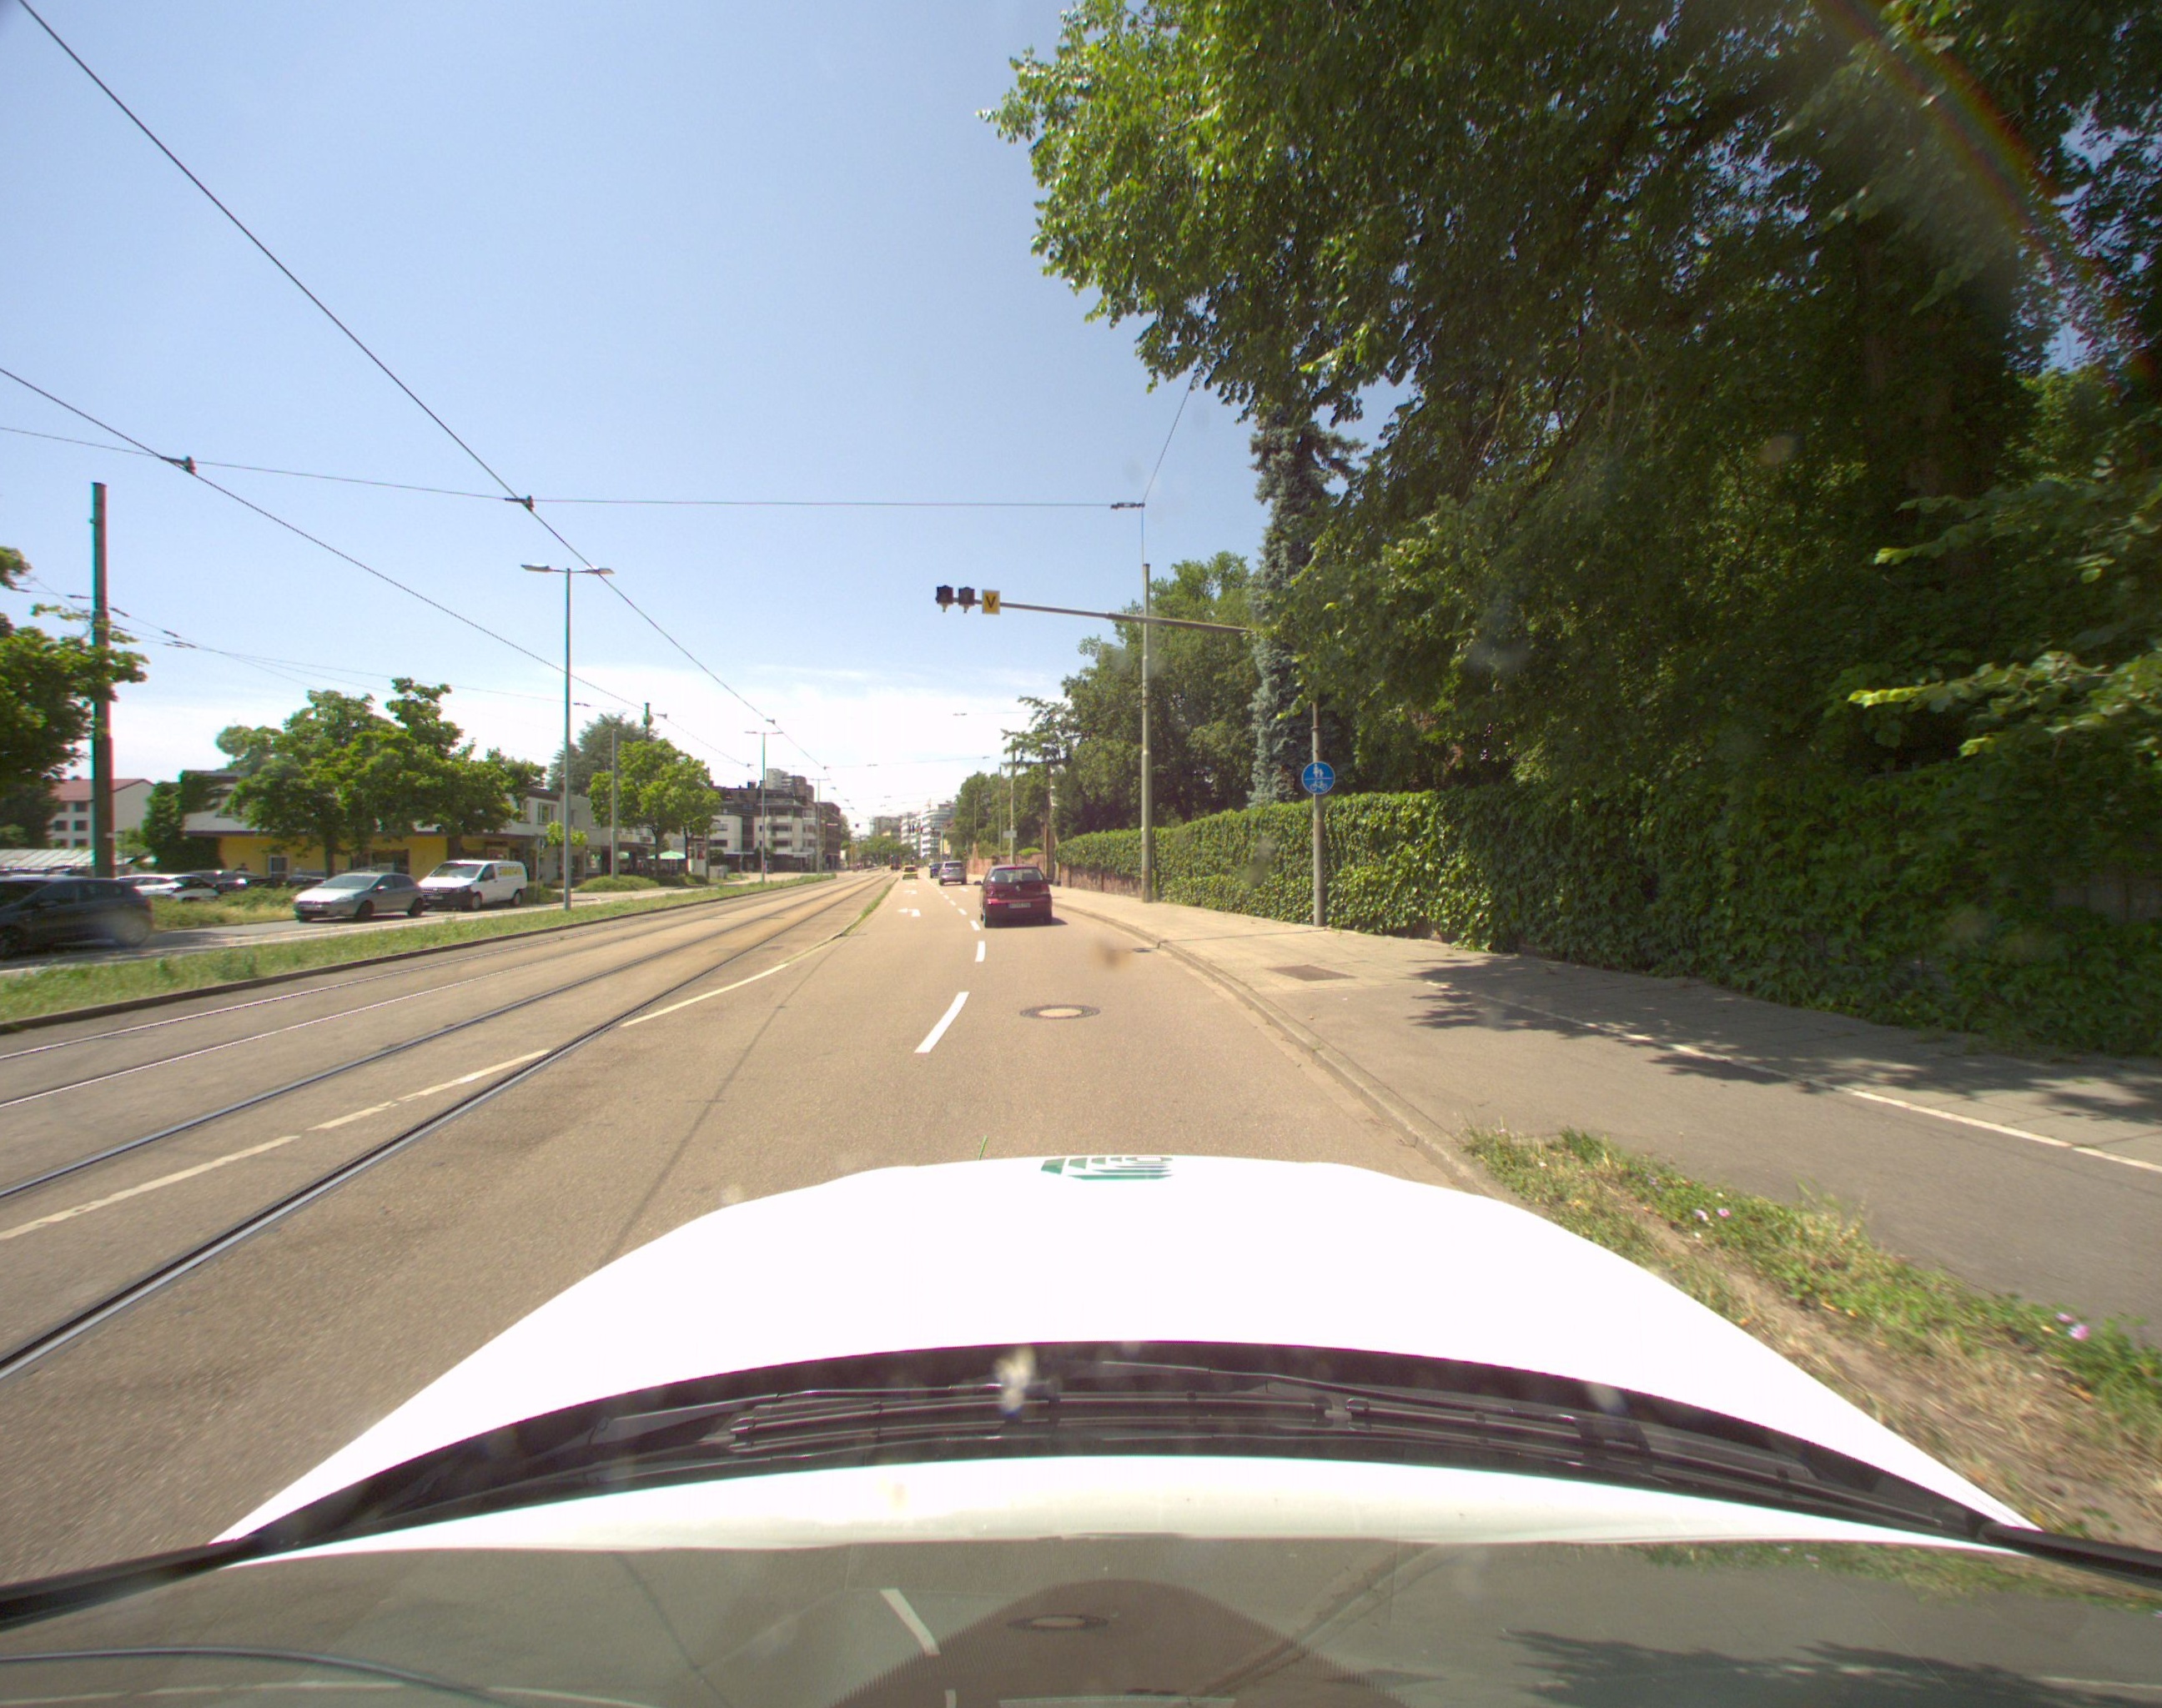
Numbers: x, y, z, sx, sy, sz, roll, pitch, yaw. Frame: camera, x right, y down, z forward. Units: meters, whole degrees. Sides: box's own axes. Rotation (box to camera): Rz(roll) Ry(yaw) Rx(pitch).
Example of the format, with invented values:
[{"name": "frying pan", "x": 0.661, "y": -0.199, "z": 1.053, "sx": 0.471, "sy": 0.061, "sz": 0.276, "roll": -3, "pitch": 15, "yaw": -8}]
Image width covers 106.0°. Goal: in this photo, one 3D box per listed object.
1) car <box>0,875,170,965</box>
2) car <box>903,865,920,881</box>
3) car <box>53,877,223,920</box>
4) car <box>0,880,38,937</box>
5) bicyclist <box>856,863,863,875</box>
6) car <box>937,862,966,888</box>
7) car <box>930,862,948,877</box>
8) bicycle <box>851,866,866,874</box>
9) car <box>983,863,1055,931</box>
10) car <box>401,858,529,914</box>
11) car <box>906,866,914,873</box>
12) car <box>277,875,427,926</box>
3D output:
[{"name": "car", "x": -20.453, "y": 1.228, "z": 15.901, "sx": 1.313, "sy": 1.523, "sz": 4.008, "roll": 3, "pitch": -1, "yaw": -12}, {"name": "car", "x": -18.132, "y": 2.004, "z": 87.257, "sx": 1.796, "sy": 1.683, "sz": 3.984, "roll": 1, "pitch": -1, "yaw": -11}, {"name": "car", "x": -35.008, "y": 1.614, "z": 30.351, "sx": 3.868, "sy": 1.430, "sz": 1.638, "roll": -1, "pitch": 0, "yaw": -14}, {"name": "car", "x": -33.009, "y": 1.605, "z": 22.862, "sx": 4.385, "sy": 1.602, "sz": 1.788, "roll": -1, "pitch": 0, "yaw": -14}, {"name": "bicyclist", "x": -40.450, "y": 2.689, "z": 148.741, "sx": 0.961, "sy": 2.091, "sz": 0.845, "roll": -1, "pitch": -1, "yaw": -25}, {"name": "car", "x": -9.025, "y": 1.431, "z": 56.604, "sx": 1.796, "sy": 1.683, "sz": 3.984, "roll": 1, "pitch": -1, "yaw": -11}, {"name": "car", "x": -15.267, "y": 1.670, "z": 87.739, "sx": 1.774, "sy": 1.631, "sz": 3.987, "roll": 1, "pitch": -1, "yaw": -9}, {"name": "bicycle", "x": -40.640, "y": 2.966, "z": 148.657, "sx": 2.522, "sy": 1.419, "sz": 0.632, "roll": -1, "pitch": -1, "yaw": -26}, {"name": "car", "x": -1.640, "y": 0.993, "z": 20.439, "sx": 1.608, "sy": 1.498, "sz": 3.990, "roll": -1, "pitch": -1, "yaw": -7}, {"name": "car", "x": -24.005, "y": 1.197, "z": 32.012, "sx": 1.876, "sy": 1.965, "sz": 5.143, "roll": 3, "pitch": -1, "yaw": -12}, {"name": "car", "x": -32.259, "y": 2.849, "z": 153.687, "sx": 1.354, "sy": 1.252, "sz": 2.960, "roll": 1, "pitch": -1, "yaw": -11}, {"name": "car", "x": -22.695, "y": 1.403, "z": 25.566, "sx": 1.631, "sy": 1.420, "sz": 3.854, "roll": 2, "pitch": -1, "yaw": -9}]
